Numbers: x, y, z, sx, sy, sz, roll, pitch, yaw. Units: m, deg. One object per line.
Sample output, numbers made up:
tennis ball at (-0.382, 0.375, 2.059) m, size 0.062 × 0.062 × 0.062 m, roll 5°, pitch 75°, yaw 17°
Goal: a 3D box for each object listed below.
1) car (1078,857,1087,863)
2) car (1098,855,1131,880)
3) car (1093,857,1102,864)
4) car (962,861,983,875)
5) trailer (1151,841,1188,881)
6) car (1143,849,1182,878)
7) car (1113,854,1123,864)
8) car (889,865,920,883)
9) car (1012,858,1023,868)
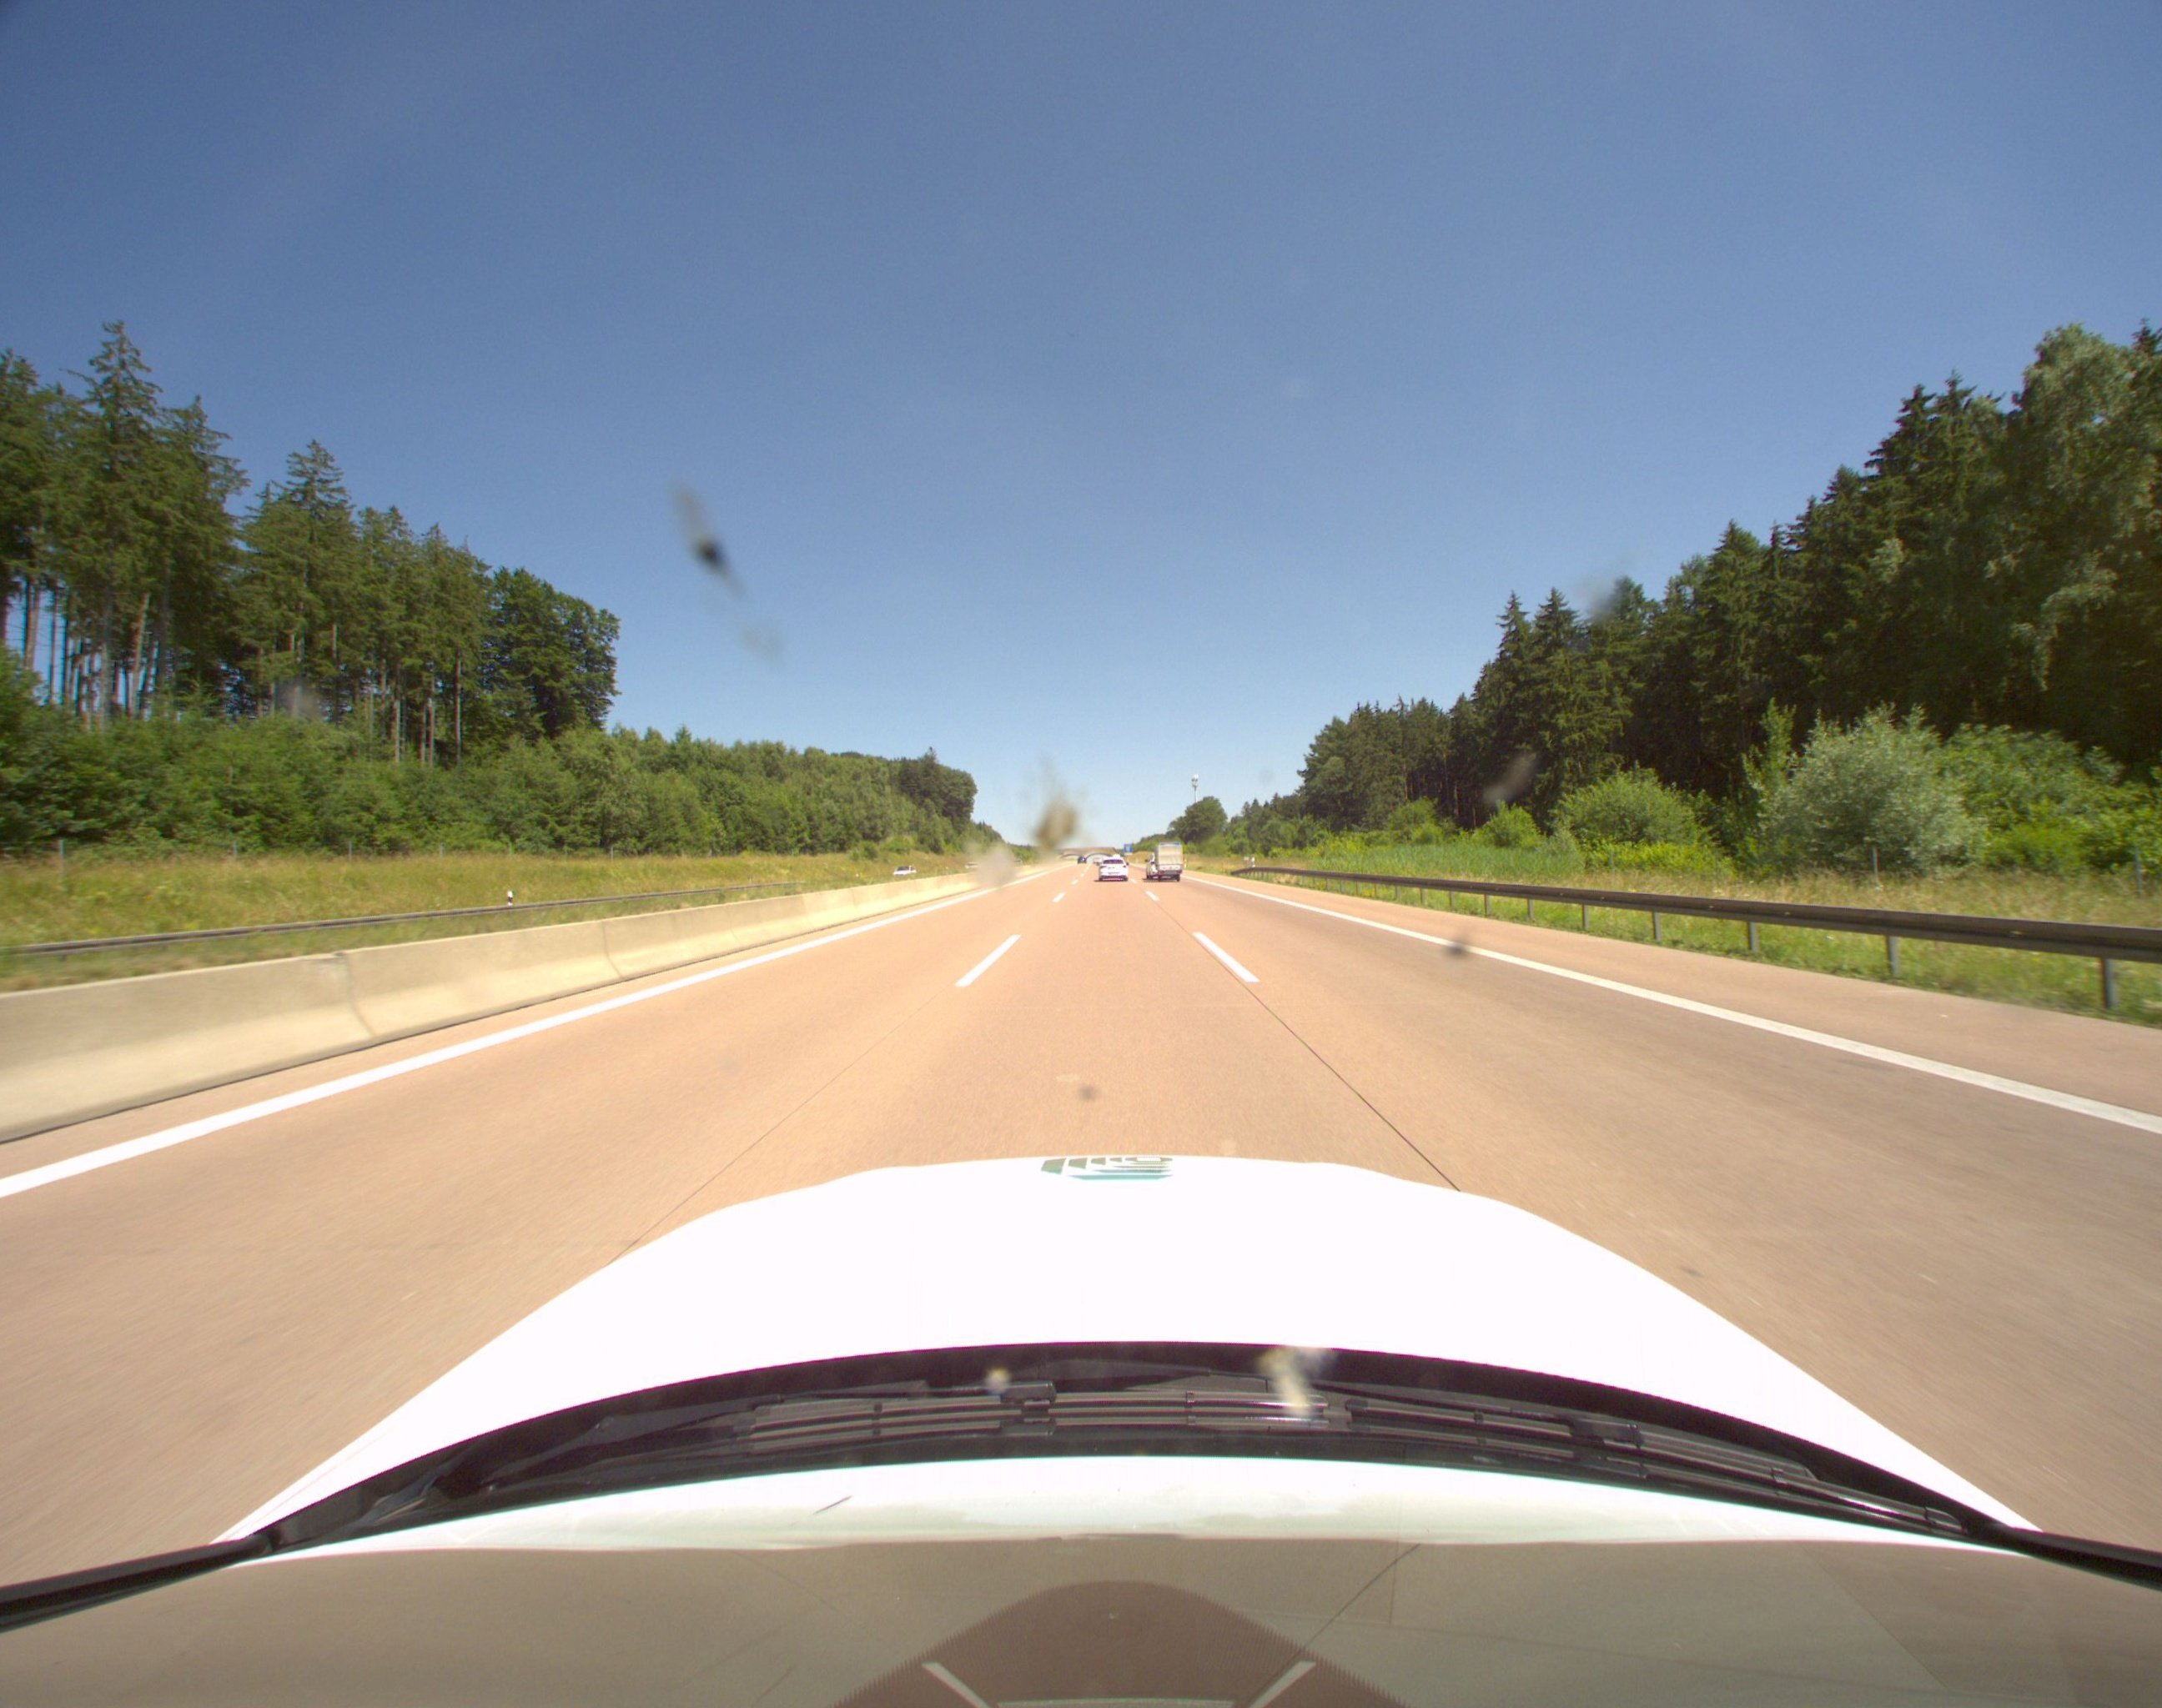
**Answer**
car at (0.387, 1.328, 182.796) m, size 1.883 × 1.463 × 4.003 m, roll -1°, pitch 0°, yaw 3°
car at (2.017, 0.789, 49.392) m, size 1.884 × 1.398 × 4.000 m, roll 0°, pitch 0°, yaw 1°
car at (3.564, 1.349, 174.063) m, size 1.884 × 1.463 × 4.001 m, roll -1°, pitch 0°, yaw 1°
car at (-13.190, 1.731, 99.062) m, size 1.884 × 1.594 × 4.465 m, roll -1°, pitch 0°, yaw 1°
trailer at (5.066, 0.399, 47.048) m, size 1.652 × 2.164 × 4.015 m, roll -1°, pitch -1°, yaw 0°
car at (5.085, 0.584, 51.611) m, size 1.885 × 1.728 × 5.184 m, roll -1°, pitch 0°, yaw 0°
car at (7.743, 1.061, 170.769) m, size 2.101 × 2.054 × 4.003 m, roll -1°, pitch 0°, yaw 3°
car at (-16.926, 1.919, 78.170) m, size 1.884 × 1.594 × 4.465 m, roll -1°, pitch 0°, yaw 1°
car at (-12.311, 1.779, 158.647) m, size 1.885 × 1.738 × 4.463 m, roll -1°, pitch 0°, yaw 0°
